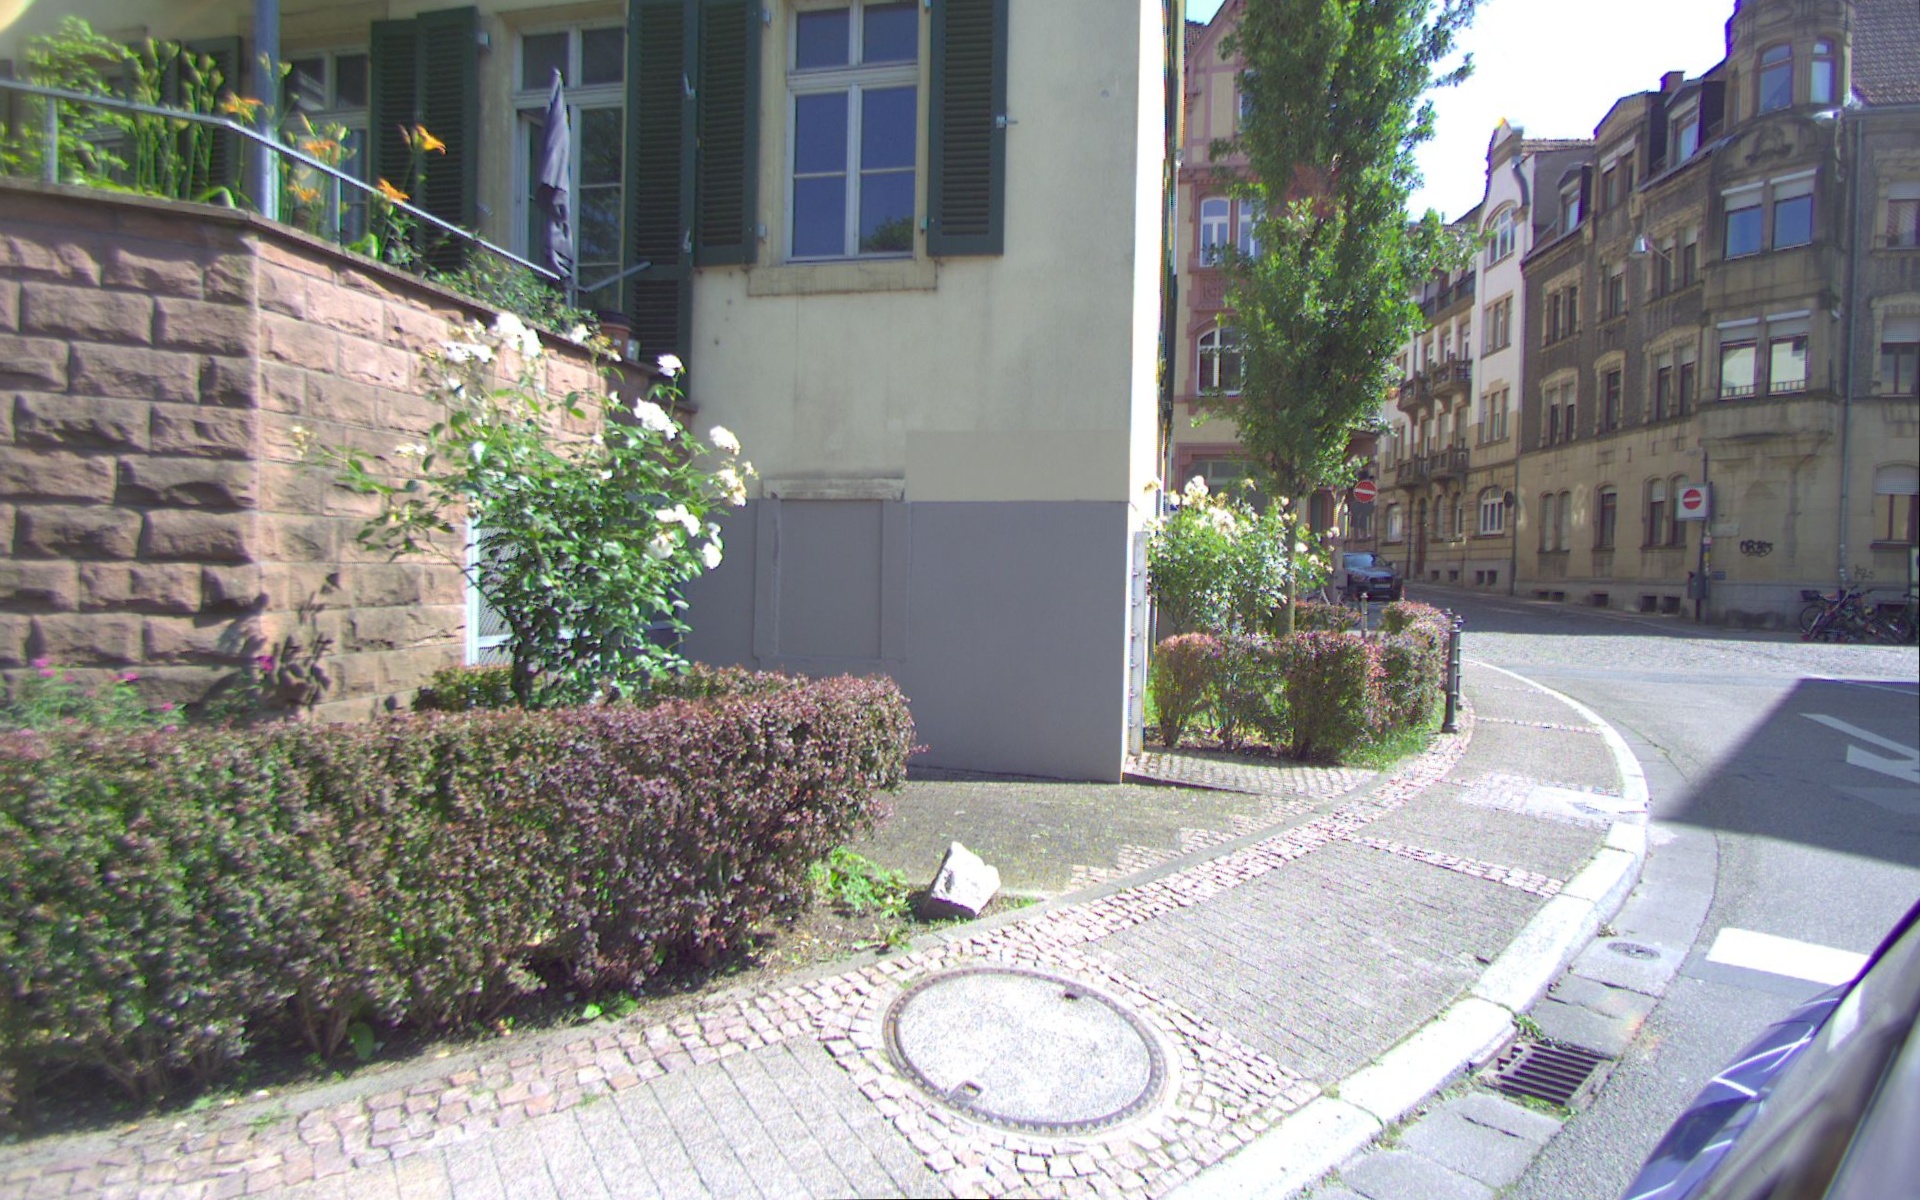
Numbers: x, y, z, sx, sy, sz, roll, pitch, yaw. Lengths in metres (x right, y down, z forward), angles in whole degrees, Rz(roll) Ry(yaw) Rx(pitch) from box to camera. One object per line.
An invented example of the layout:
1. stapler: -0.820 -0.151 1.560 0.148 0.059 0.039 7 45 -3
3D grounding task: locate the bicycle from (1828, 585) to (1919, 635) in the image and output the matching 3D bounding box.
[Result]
1. bicycle: 19.960 0.207 21.936 0.285 1.080 1.642 -42 1 3

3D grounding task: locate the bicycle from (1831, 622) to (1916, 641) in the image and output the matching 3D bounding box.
1. bicycle: 19.444 0.657 21.586 1.068 0.291 1.114 2 3 27

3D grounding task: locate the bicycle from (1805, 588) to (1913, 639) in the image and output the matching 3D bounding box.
1. bicycle: 19.473 0.267 21.973 0.285 1.080 1.642 -42 1 3

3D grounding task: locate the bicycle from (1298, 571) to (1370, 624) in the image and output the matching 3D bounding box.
1. bicycle: 8.945 -0.085 24.272 0.495 1.160 1.798 1 3 -23

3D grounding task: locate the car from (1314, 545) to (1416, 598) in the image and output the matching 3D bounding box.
1. car: 13.601 -1.018 34.276 1.828 1.601 4.261 -1 4 2

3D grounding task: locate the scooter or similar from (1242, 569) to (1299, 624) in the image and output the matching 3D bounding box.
1. scooter or similar: 7.311 -0.094 23.845 1.168 1.250 0.442 1 2 -1

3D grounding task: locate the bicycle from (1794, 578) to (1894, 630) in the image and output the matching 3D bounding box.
1. bicycle: 20.643 0.084 23.660 1.617 1.098 0.495 2 6 13

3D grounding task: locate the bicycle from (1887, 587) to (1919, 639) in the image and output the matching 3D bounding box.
1. bicycle: 20.407 0.282 21.120 0.280 1.099 1.646 3 -1 -15

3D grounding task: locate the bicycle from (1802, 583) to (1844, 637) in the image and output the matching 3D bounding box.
1. bicycle: 18.858 0.198 22.134 0.283 1.099 1.628 -2 1 26
